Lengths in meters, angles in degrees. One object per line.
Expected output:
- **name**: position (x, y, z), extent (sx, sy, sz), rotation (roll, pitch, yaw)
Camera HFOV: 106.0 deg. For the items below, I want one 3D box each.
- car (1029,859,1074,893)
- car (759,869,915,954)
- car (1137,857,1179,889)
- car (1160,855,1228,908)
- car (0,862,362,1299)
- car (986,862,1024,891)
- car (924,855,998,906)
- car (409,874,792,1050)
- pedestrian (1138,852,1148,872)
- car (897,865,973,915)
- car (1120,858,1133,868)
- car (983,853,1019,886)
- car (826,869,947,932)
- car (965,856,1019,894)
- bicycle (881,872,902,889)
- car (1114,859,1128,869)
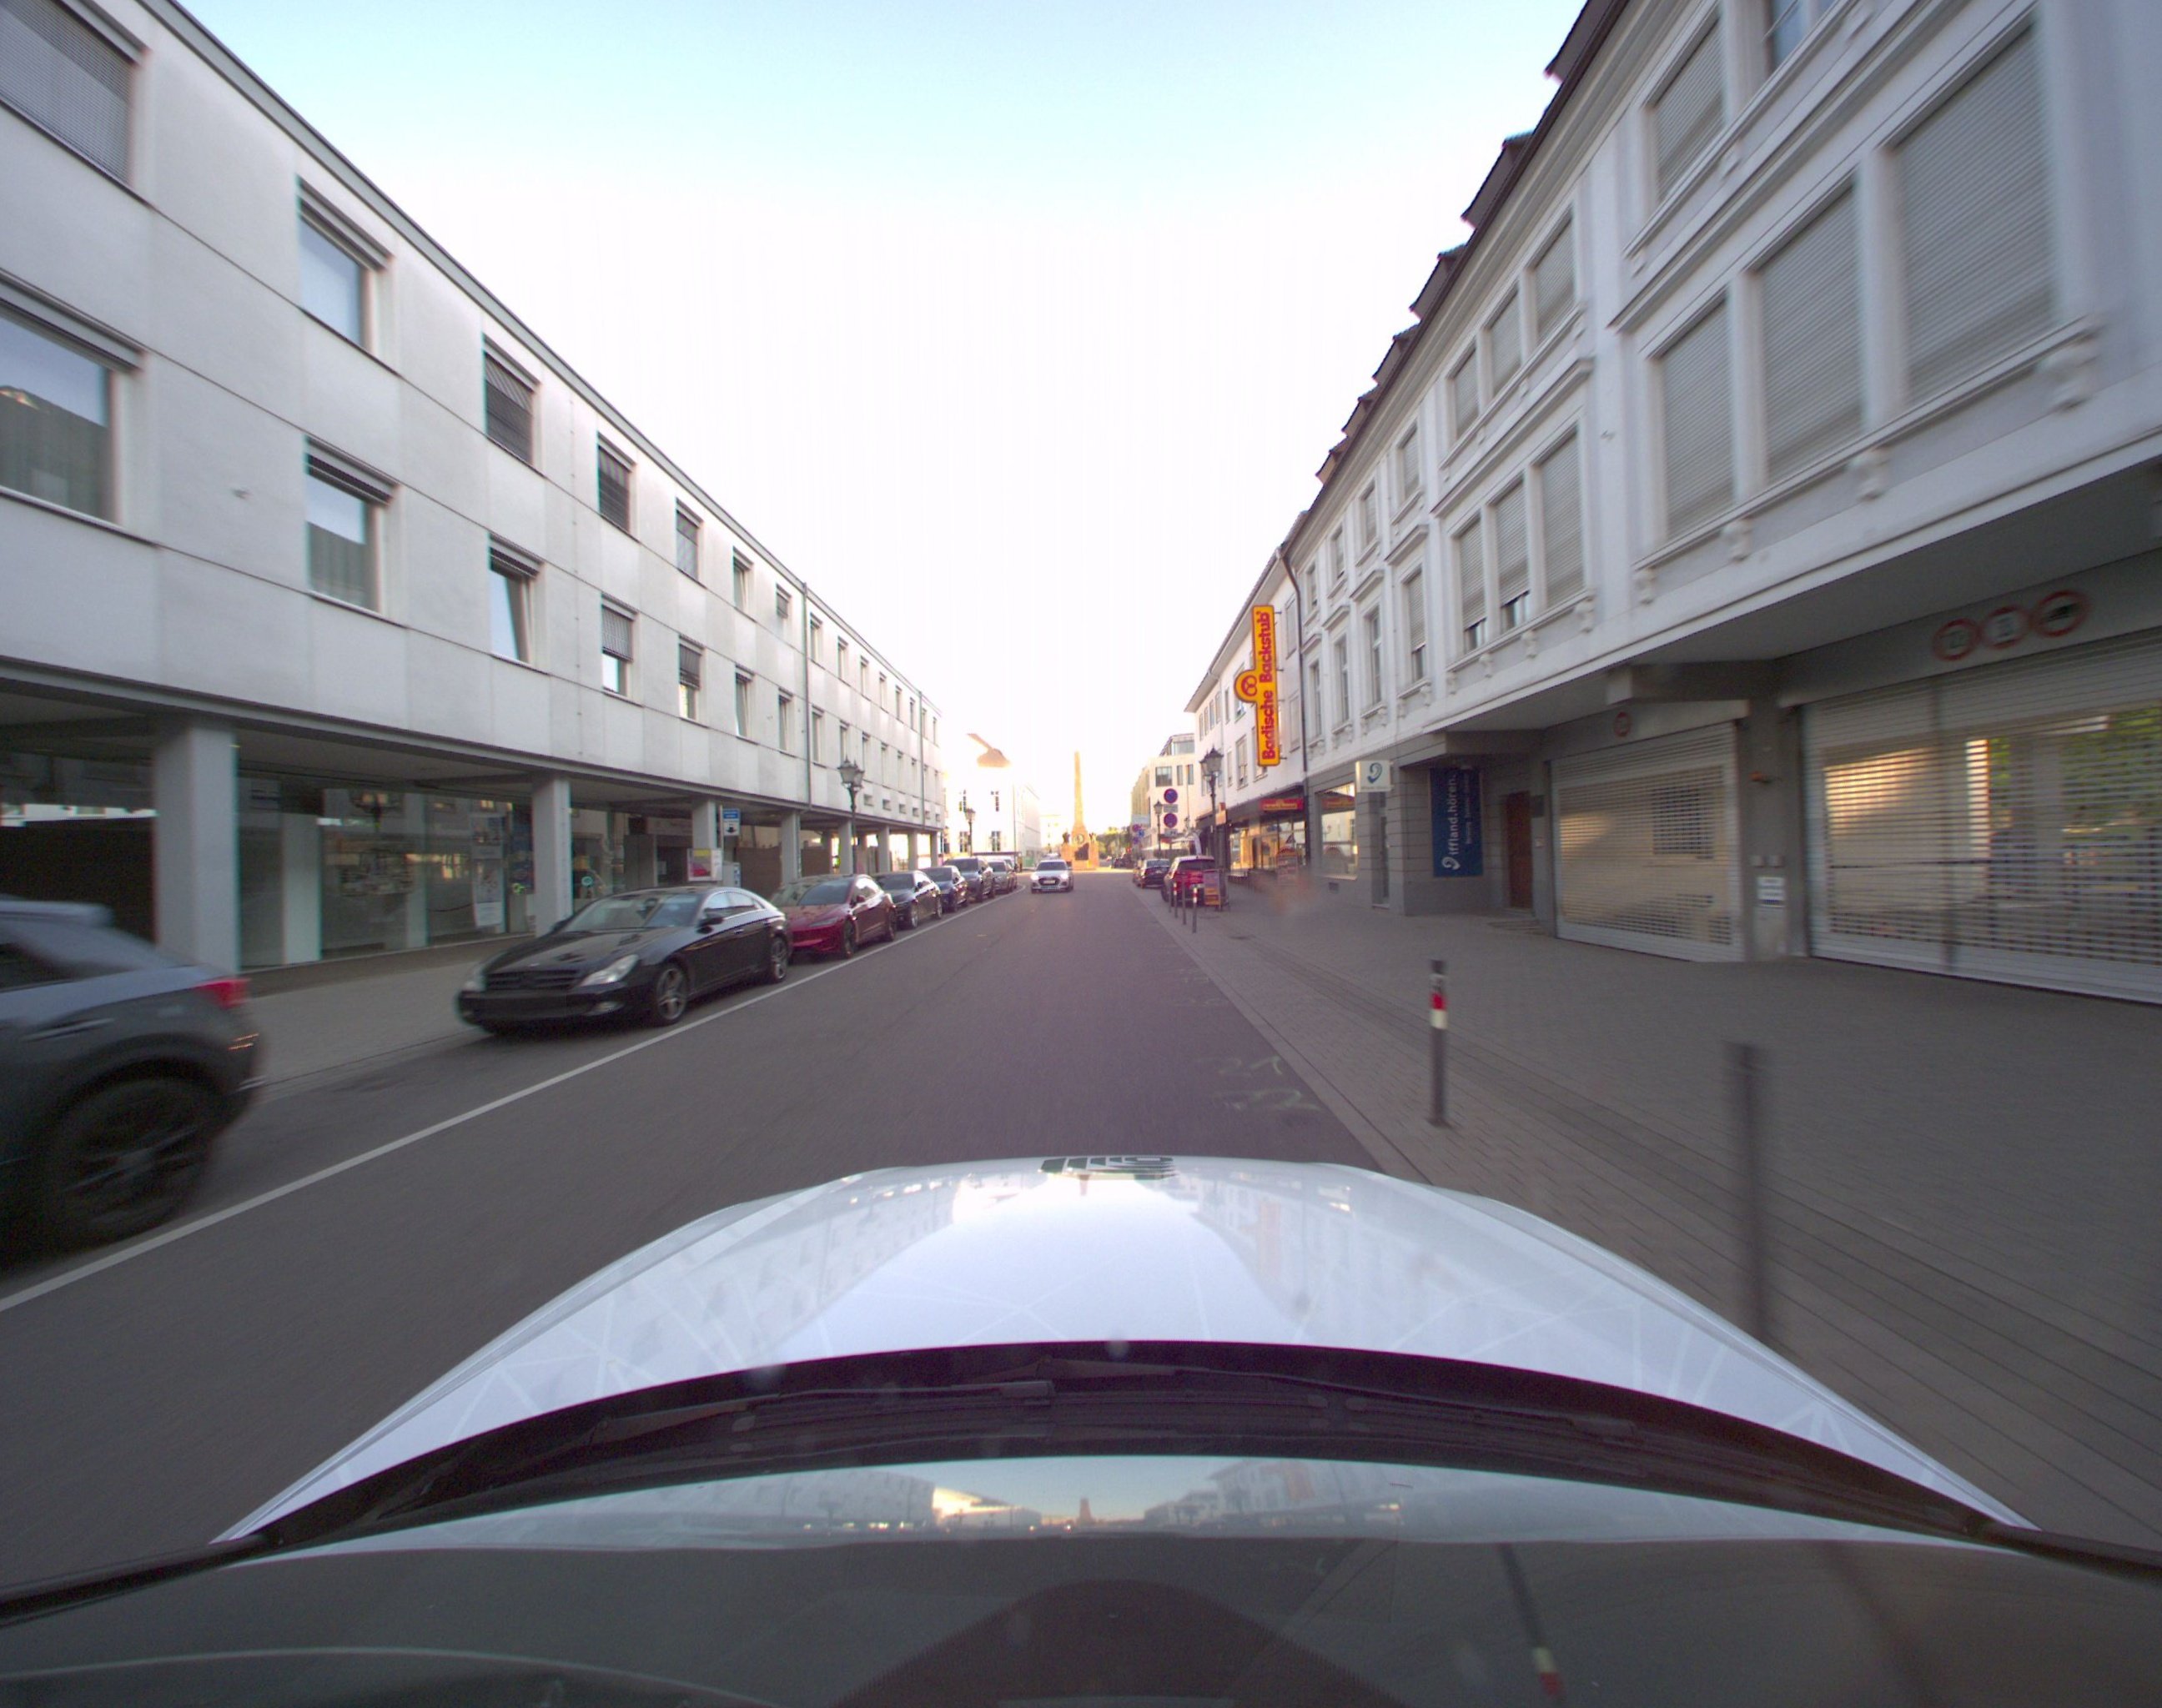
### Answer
- **car**: position (-1.309, 0.964, 37.590), extent (1.757, 1.422, 4.002), rotation (-1, 0, 2)
- **car**: position (-4.831, 1.077, 16.753), extent (1.778, 1.408, 4.090), rotation (-2, 0, 2)
- **car**: position (3.728, 0.886, 39.947), extent (1.795, 1.464, 4.119), rotation (-1, 0, 2)
- **car**: position (3.545, 0.820, 26.096), extent (1.753, 1.523, 3.678), rotation (-1, 0, 2)
- **car**: position (-4.956, 0.875, 2.428), extent (1.778, 1.615, 4.168), rotation (-2, 0, 2)
- **car**: position (-3.984, 1.154, 43.098), extent (1.673, 1.353, 4.103), rotation (-1, 0, -1)
- **car**: position (-4.542, 0.943, 31.491), extent (1.986, 1.728, 4.517), rotation (-3, 0, 2)
- **car**: position (-4.997, 1.013, 9.276), extent (1.778, 1.408, 4.090), rotation (-2, 0, 2)
- **pedestrian**: position (5.219, 0.655, 68.456), extent (0.688, 1.647, 0.696), rotation (-2, 0, 0)
- **car**: position (-4.650, 1.106, 26.493), extent (1.667, 1.400, 4.000), rotation (-2, 0, 1)
- **car**: position (7.267, 1.428, 130.059), extent (1.985, 1.464, 4.003), rotation (-2, 0, 3)
- **car**: position (-4.696, 0.897, 47.953), extent (1.991, 1.816, 4.774), rotation (-1, 0, -6)
- **car**: position (-4.811, 1.109, 20.789), extent (1.986, 1.354, 4.002), rotation (-1, 0, 2)
- **car**: position (-4.141, 0.938, 38.489), extent (1.986, 1.662, 4.002), rotation (-1, 0, 2)
- **bicycle**: position (-11.747, 1.611, 50.615), extent (0.730, 0.983, 2.335), rotation (-1, 0, 0)
- **car**: position (5.994, 1.451, 121.605), extent (1.985, 1.464, 4.003), rotation (-2, 0, 3)
